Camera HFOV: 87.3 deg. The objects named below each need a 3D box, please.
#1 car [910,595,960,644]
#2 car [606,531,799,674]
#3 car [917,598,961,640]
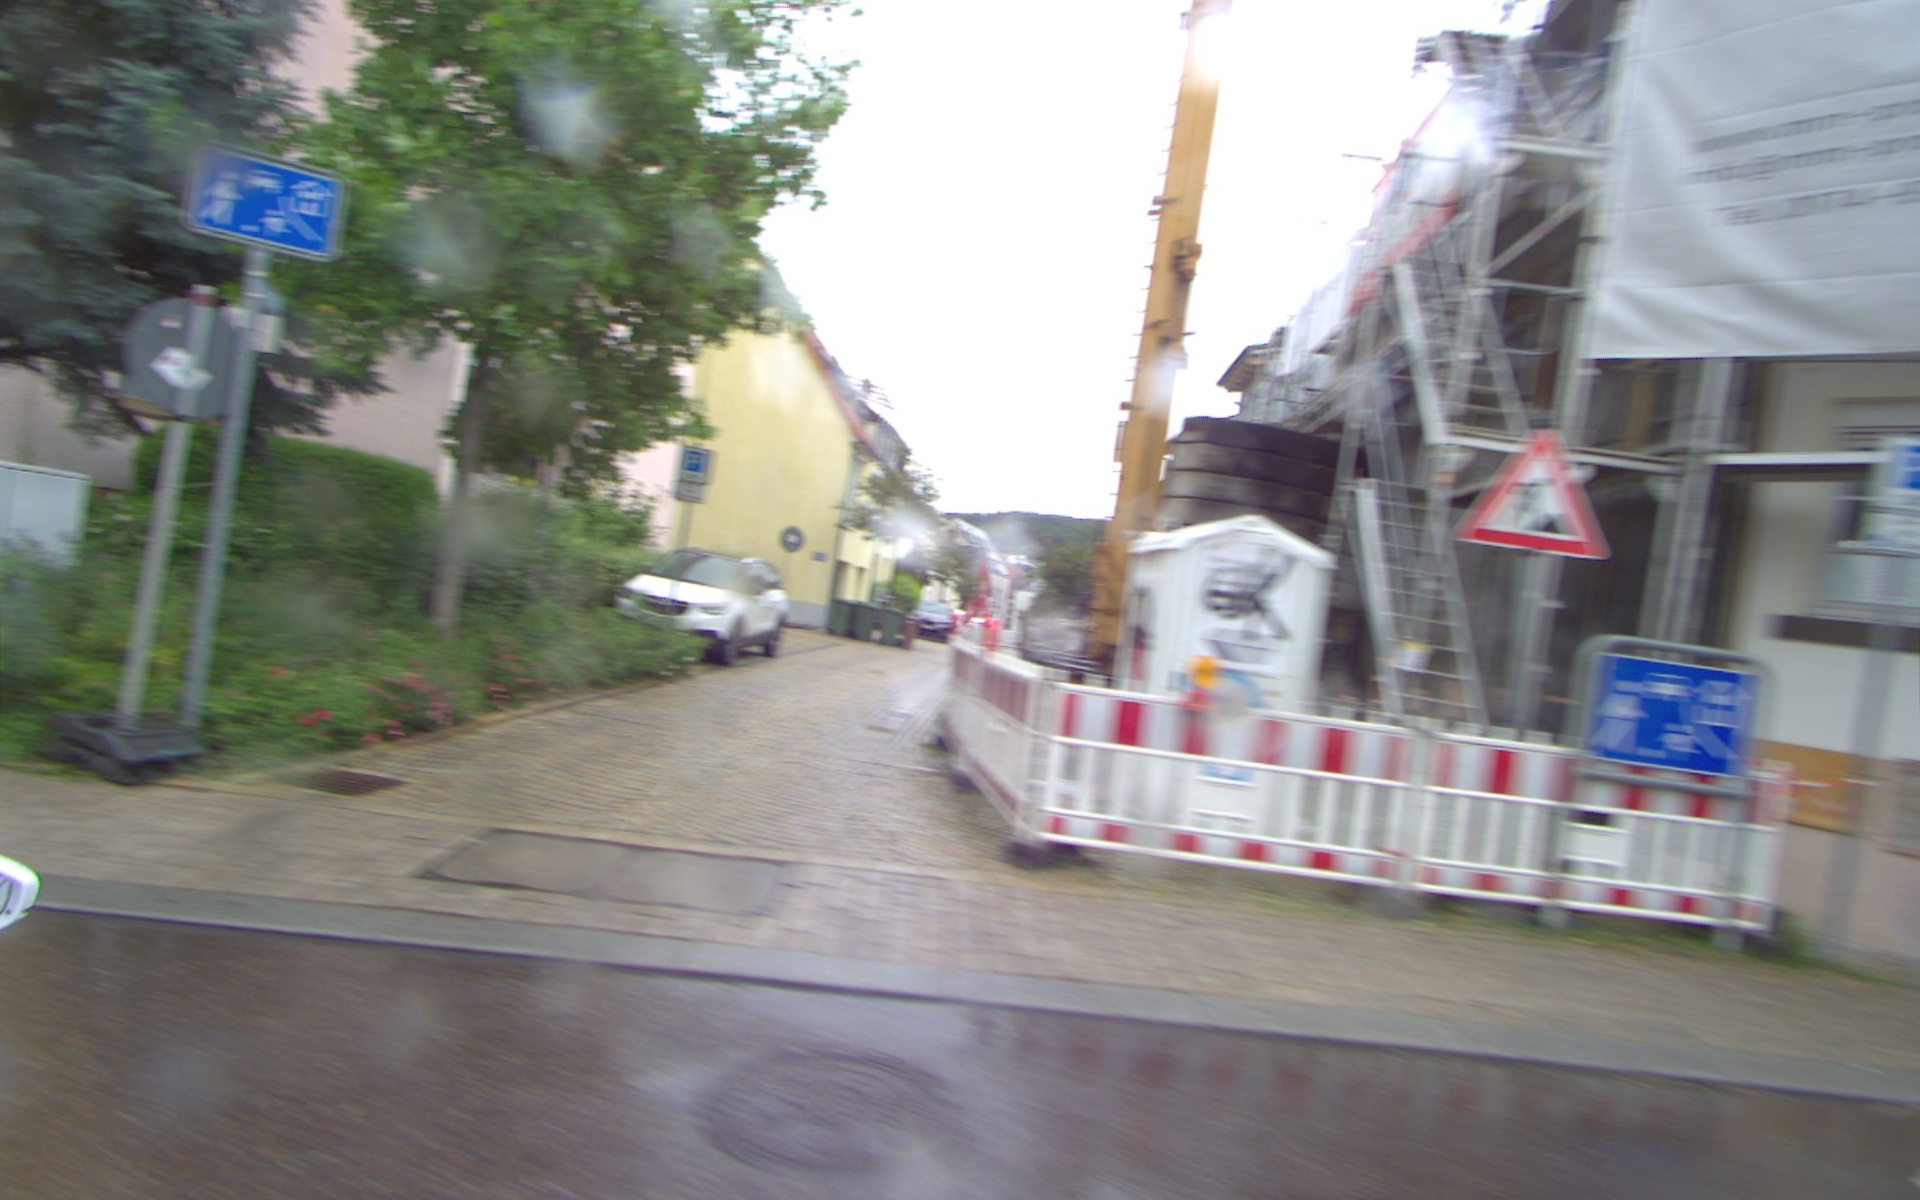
[{"bbox_3d":[-0.970,0.791,41.389,1.708,1.704,4.000,7,0,1],"label":"car"},{"bbox_3d":[-3.839,0.050,15.725,1.576,1.698,3.938,9,0,3],"label":"car"},{"bbox_3d":[-0.942,0.914,47.714,1.708,1.704,4.000,7,0,1],"label":"car"}]
